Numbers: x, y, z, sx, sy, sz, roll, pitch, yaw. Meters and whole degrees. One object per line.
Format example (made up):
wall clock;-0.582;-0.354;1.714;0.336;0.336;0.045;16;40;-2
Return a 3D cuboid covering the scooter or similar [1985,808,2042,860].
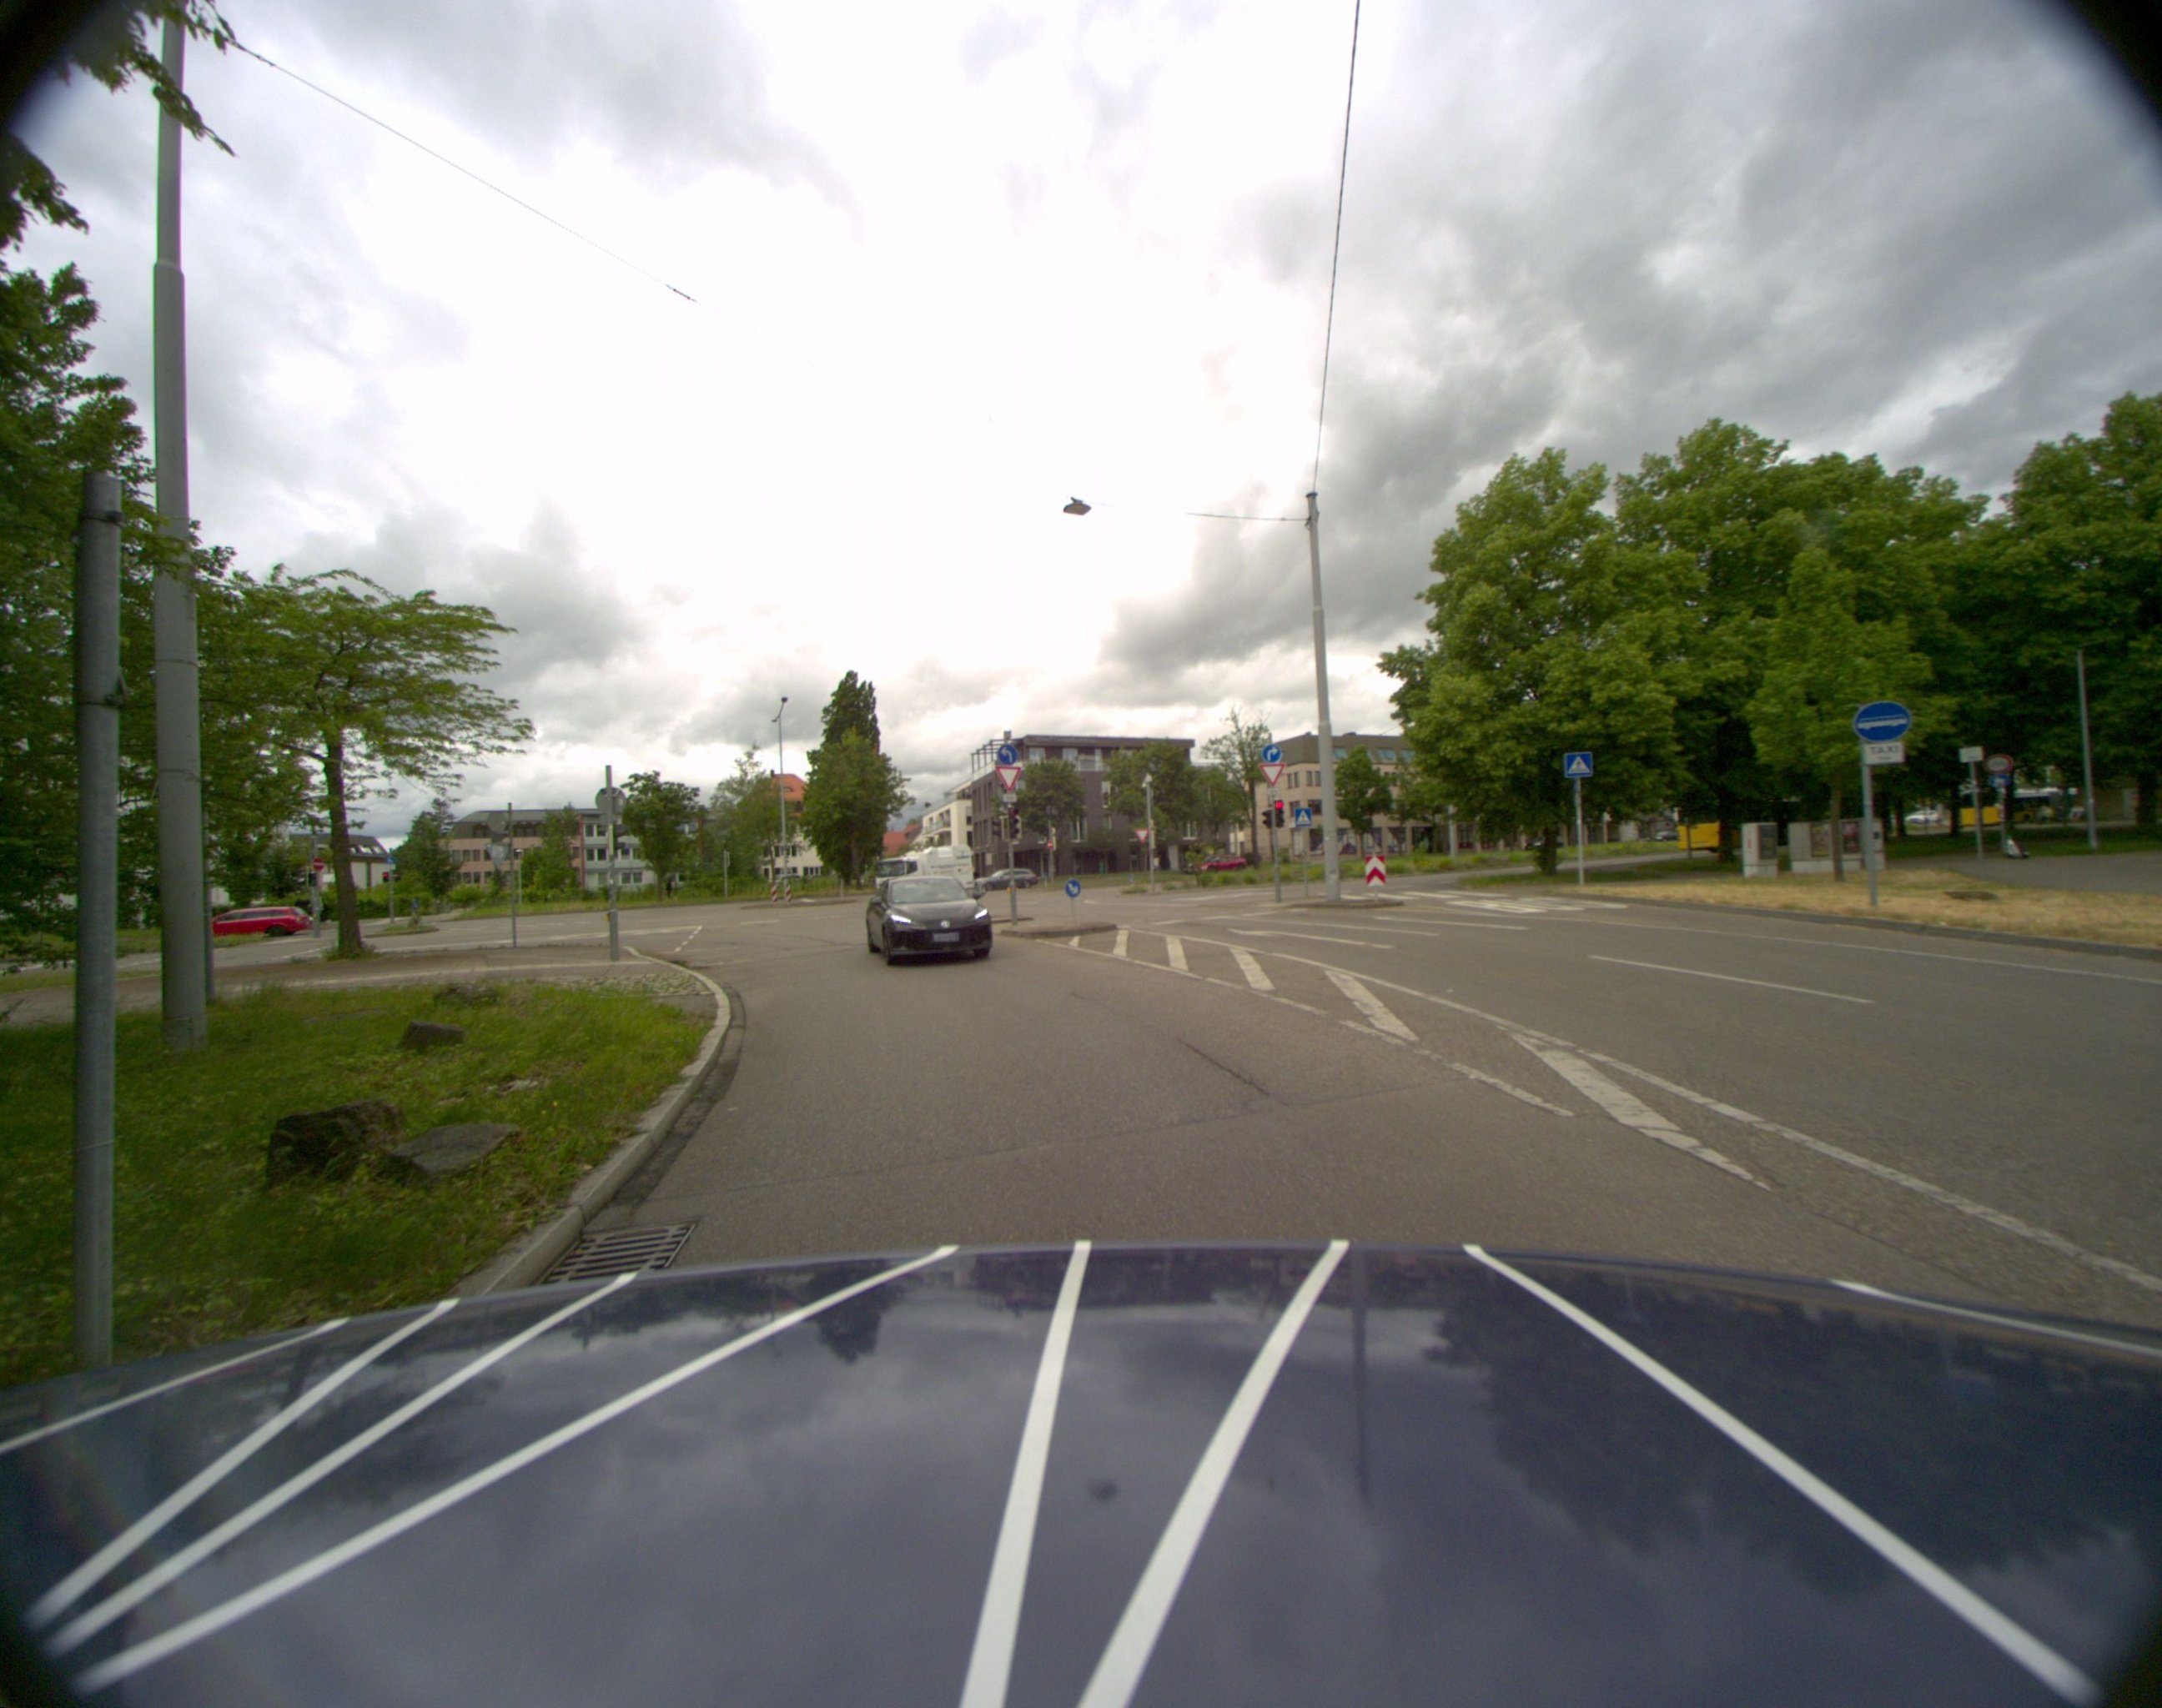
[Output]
scooter or similar;27.389;-0.583;22.346;0.554;1.437;1.595;-5;0;34

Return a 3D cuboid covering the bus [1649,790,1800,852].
bus;38.530;-1.991;45.456;8.436;2.991;3.049;-4;-1;-21

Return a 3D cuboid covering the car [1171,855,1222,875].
car;9.739;0.911;64.249;3.903;1.477;1.771;-2;-2;-8

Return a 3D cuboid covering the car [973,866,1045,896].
car;-5.167;1.956;54.694;4.609;1.685;1.996;-5;-1;-28

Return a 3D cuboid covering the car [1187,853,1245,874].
car;11.098;0.783;62.301;4.383;1.477;1.823;-2;-2;-26

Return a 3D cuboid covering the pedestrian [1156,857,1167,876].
pedestrian;7.541;1.151;71.289;0.650;1.735;0.692;-5;0;-29

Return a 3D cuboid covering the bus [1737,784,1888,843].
bus;46.960;-2.632;48.747;9.704;2.991;3.049;-4;-1;-21

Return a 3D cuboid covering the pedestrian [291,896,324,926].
pedestrian;-45.272;3.308;44.478;1.034;1.616;0.733;-5;0;-6

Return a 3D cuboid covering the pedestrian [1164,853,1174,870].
pedestrian;8.475;0.702;73.109;0.599;1.610;0.692;-5;0;-24

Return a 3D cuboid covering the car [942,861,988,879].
car;-11.601;1.609;75.738;4.129;1.591;1.997;-2;-2;-22

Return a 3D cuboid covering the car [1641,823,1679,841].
car;70.703;-2.729;92.768;4.004;1.805;1.997;-5;-1;-26

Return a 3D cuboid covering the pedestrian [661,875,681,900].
pedestrian;-28.920;2.339;53.611;1.005;1.685;0.607;-5;0;-40

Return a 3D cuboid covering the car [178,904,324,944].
car;-40.464;3.386;37.223;4.362;1.415;1.995;-3;1;-31

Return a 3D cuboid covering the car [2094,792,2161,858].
car;29.468;-0.839;19.930;3.949;1.660;1.646;-3;1;-5

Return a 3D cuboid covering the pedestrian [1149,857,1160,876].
pedestrian;6.954;1.191;71.820;0.699;1.735;0.692;-5;0;-29

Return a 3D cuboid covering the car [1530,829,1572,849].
car;52.390;-1.699;84.700;4.004;1.805;1.997;-5;-1;-26

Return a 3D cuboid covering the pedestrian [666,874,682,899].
pedestrian;-29.133;2.330;54.390;0.834;1.685;0.615;-5;0;-40

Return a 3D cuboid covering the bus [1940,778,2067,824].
bus;78.718;-4.524;64.827;10.237;2.991;3.292;-4;-1;-19

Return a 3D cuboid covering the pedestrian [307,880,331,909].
pedestrian;-45.360;2.396;45.220;0.708;1.616;0.566;-5;0;0

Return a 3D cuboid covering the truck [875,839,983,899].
truck;-8.966;0.822;45.606;2.431;3.177;6.477;-1;2;31

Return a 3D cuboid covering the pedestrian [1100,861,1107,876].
pedestrian;2.075;1.335;70.876;0.535;1.349;0.659;-5;0;-1

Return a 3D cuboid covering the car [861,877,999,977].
car;-2.995;1.251;14.361;1.803;1.474;4.013;-3;-1;-21
